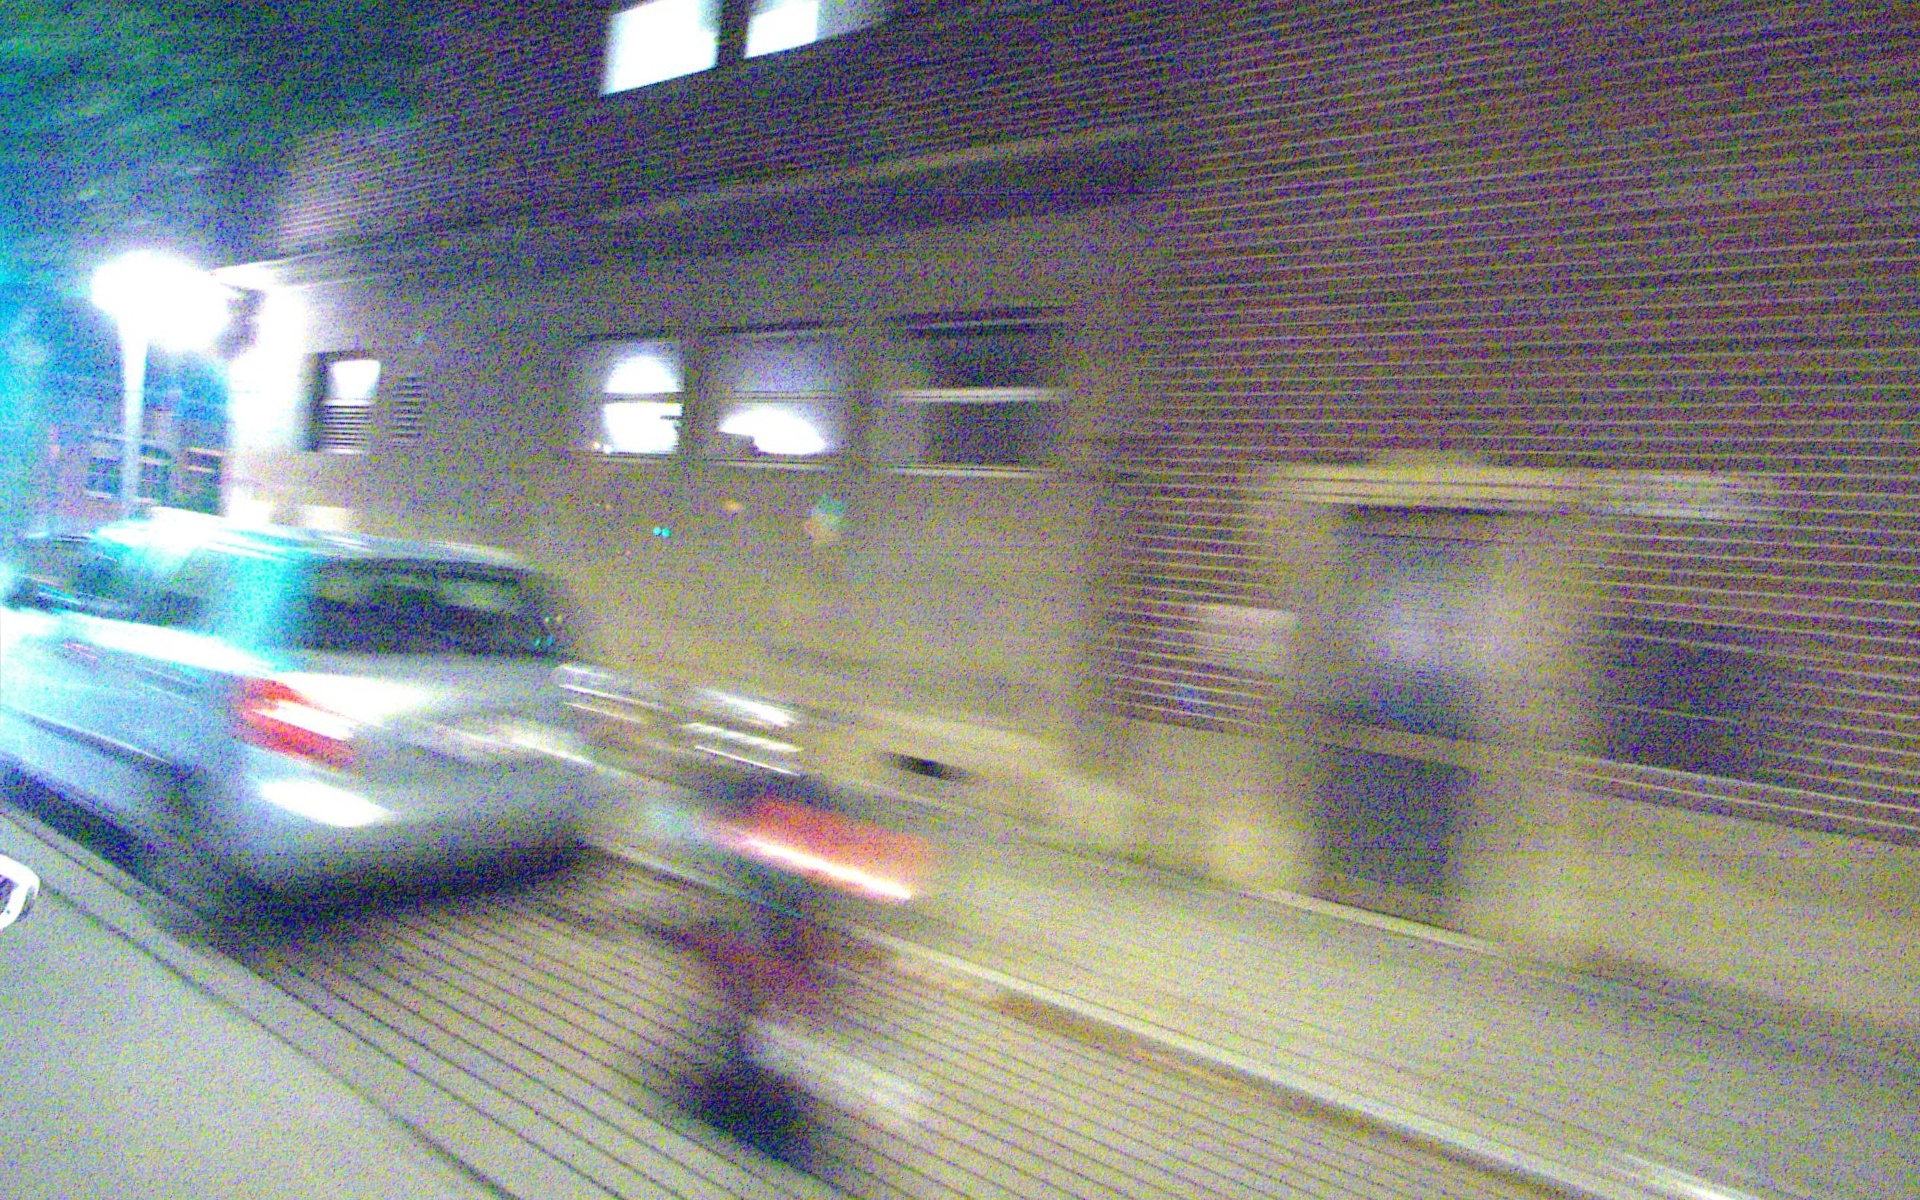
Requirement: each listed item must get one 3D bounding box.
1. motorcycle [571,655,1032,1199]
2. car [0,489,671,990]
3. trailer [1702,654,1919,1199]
[{"bbox_3d":[-0.679,0.865,3.047,0.719,1.144,2.215,7,-1,-24],"label":"motorcycle"},{"bbox_3d":[-3.328,0.374,4.867,3.736,1.479,1.587,7,0,35],"label":"car"},{"bbox_3d":[3.266,1.078,1.192,3.676,1.513,1.601,7,-1,36],"label":"trailer"}]
